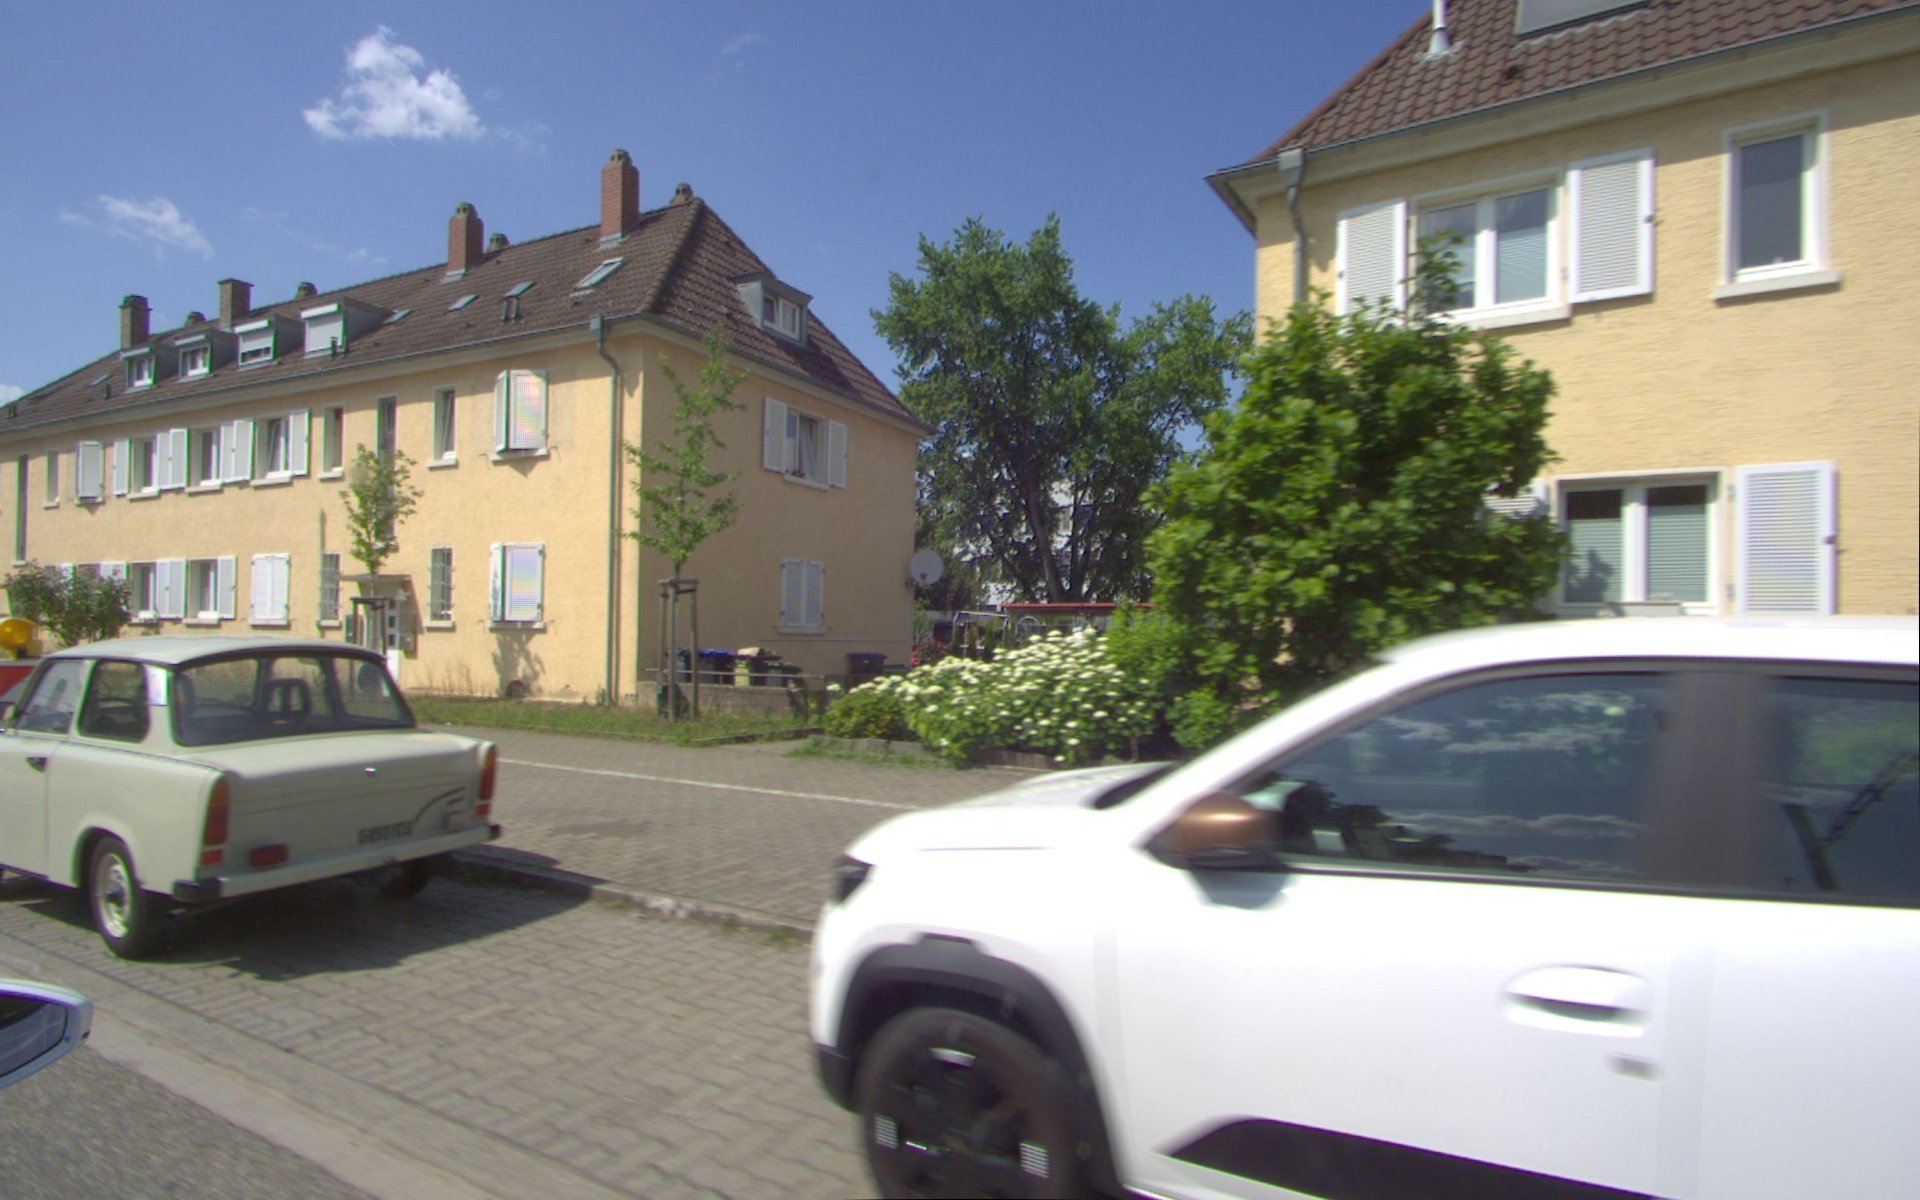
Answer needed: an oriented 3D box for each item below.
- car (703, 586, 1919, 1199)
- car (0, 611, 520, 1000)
[{"bbox_3d":[1.308,0.753,2.287,3.755,1.500,1.525,0,-1,32],"label":"car"},{"bbox_3d":[-4.397,0.835,5.573,4.047,1.521,1.461,0,-1,30],"label":"car"}]
